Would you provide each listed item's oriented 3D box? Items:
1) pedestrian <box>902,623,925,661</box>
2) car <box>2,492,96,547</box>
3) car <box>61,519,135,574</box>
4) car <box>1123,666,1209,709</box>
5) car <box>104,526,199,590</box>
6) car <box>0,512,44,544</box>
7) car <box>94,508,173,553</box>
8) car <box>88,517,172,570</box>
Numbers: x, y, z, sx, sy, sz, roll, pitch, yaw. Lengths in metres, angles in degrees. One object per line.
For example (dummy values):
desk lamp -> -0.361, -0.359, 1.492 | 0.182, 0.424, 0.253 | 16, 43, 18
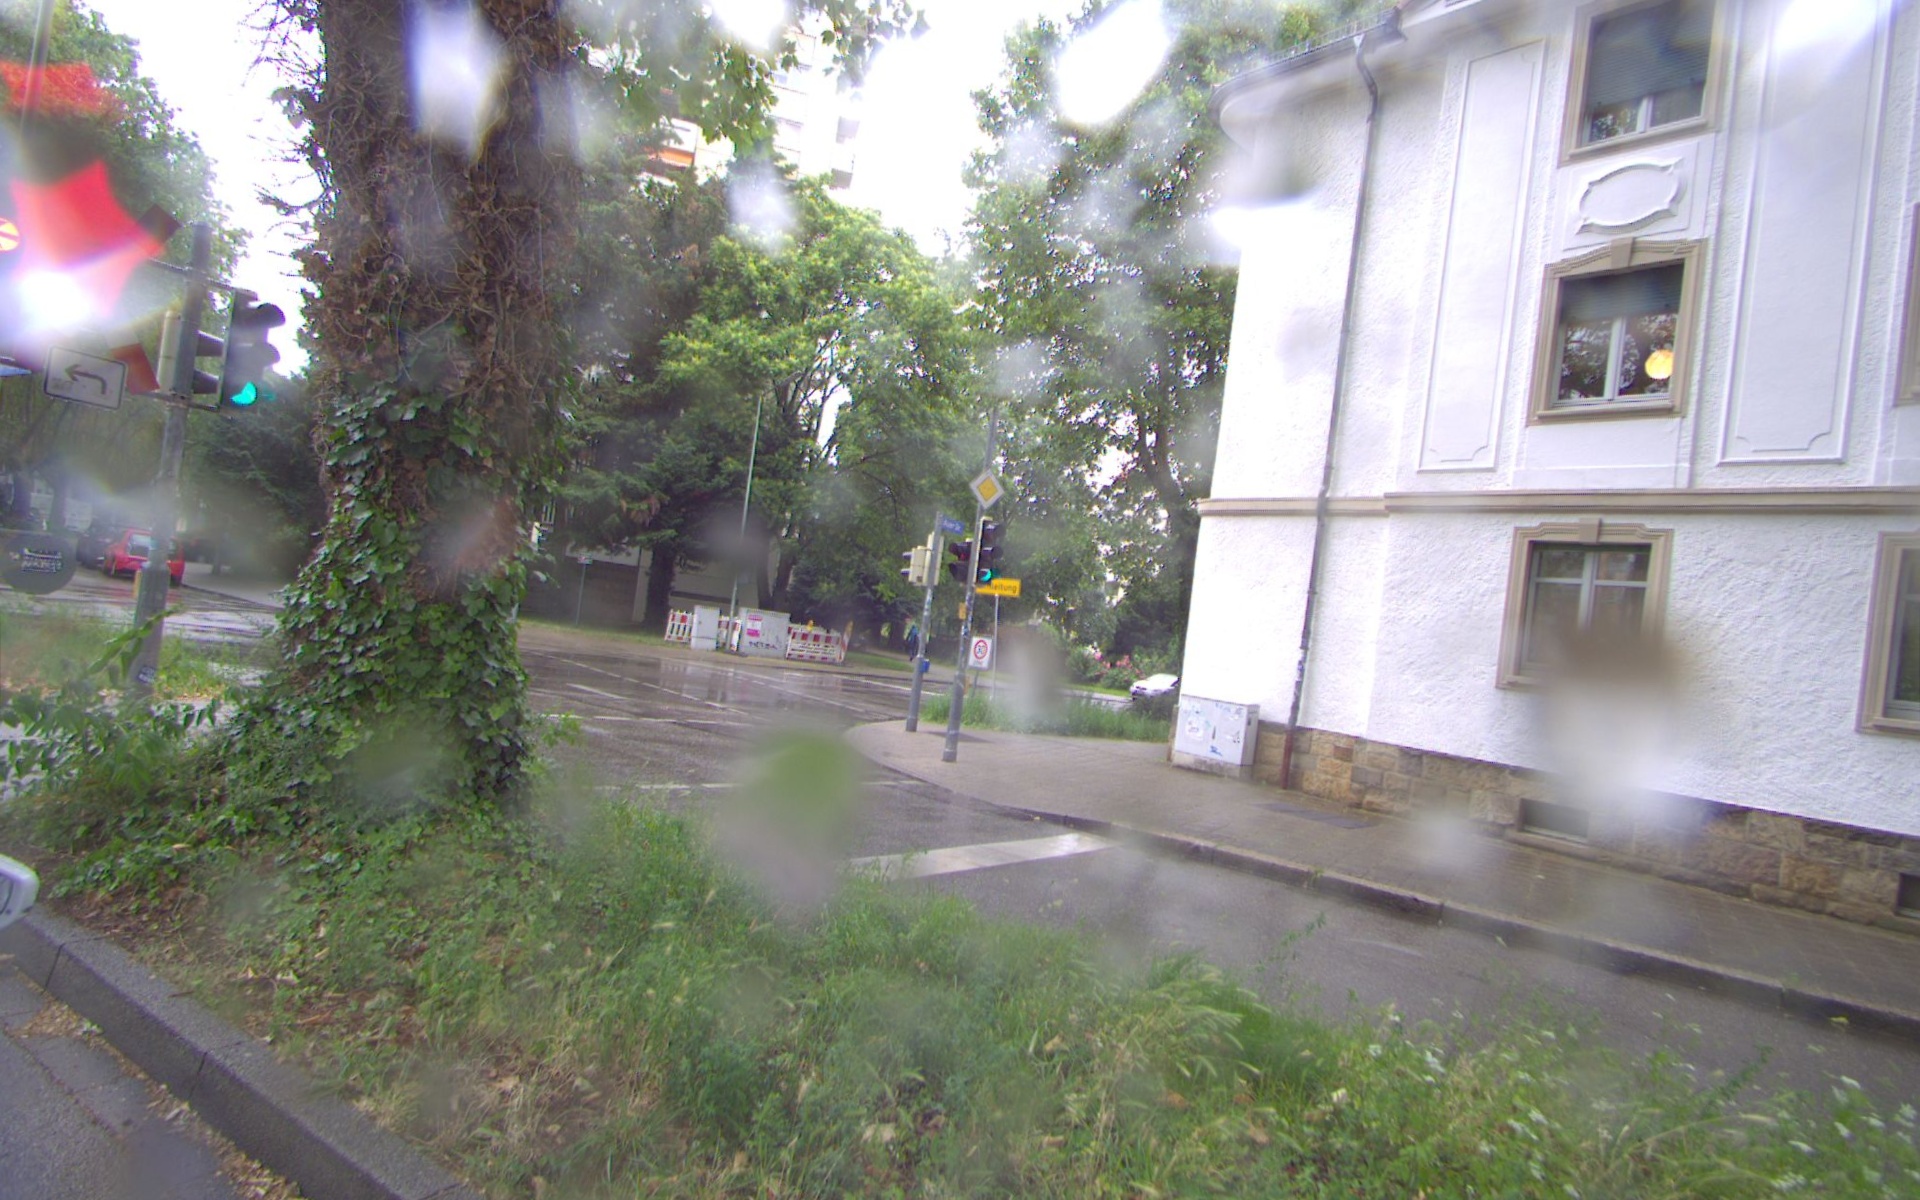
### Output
pedestrian -> -2.419, 2.192, 52.130 | 0.675, 1.863, 0.707 | 8, -1, -44
car -> -61.109, -5.390, 67.538 | 4.680, 2.982, 2.043 | 7, -1, 12
car -> -32.981, -2.077, 38.460 | 1.779, 1.747, 3.951 | 9, -2, -44
car -> 9.413, 4.000, 45.811 | 1.829, 1.473, 3.979 | 6, -3, 45
car -> -24.829, -1.308, 30.848 | 1.788, 1.515, 3.950 | 10, -2, -44
car -> -56.203, -4.376, 58.634 | 1.974, 1.565, 3.980 | 6, -3, 44
car -> -69.647, -5.841, 84.819 | 4.683, 2.982, 2.001 | 7, -1, 1
car -> -28.096, -1.937, 34.005 | 1.780, 1.363, 3.879 | 10, -2, -44
